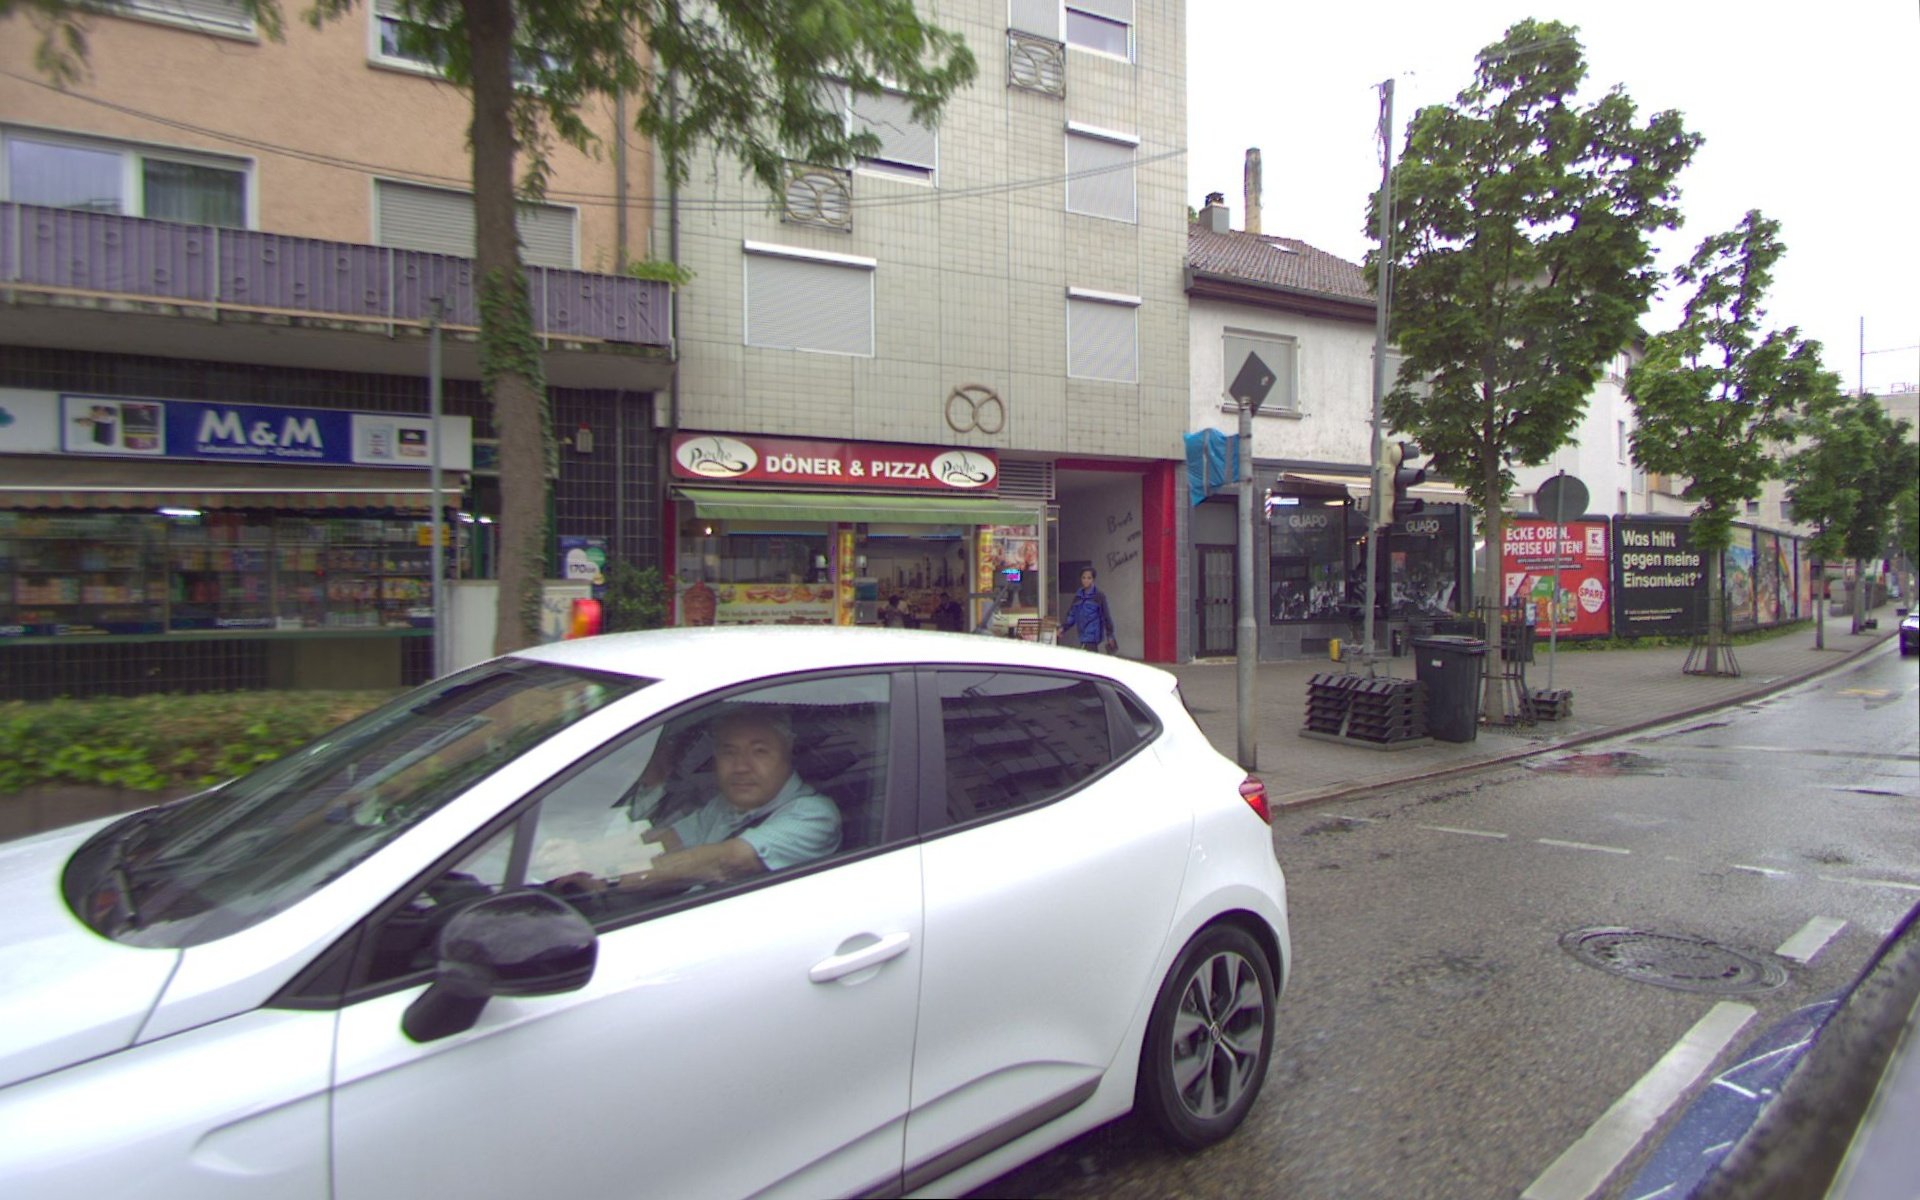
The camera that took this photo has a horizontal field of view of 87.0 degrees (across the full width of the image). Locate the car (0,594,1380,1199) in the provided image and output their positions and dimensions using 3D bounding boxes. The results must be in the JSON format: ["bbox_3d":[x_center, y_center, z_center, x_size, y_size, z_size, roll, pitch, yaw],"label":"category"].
[{"bbox_3d":[-0.781,0.751,2.564,3.927,1.420,1.681,-1,3,-38],"label":"car"}]

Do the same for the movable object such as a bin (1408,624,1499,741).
[{"bbox_3d":[5.117,0.830,10.506,0.653,1.125,0.580,1,1,-37],"label":"movable object such as a bin"}]

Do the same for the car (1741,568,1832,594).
[{"bbox_3d":[54.895,-1.269,67.292,4.178,1.596,1.939,1,-1,11],"label":"car"}]

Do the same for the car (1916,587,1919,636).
[{"bbox_3d":[23.921,0.331,23.912,1.807,1.356,4.210,-5,-2,44],"label":"car"}]

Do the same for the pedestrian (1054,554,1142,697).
[{"bbox_3d":[1.828,0.302,13.546,0.887,1.813,0.973,-1,3,-11],"label":"pedestrian"}]
